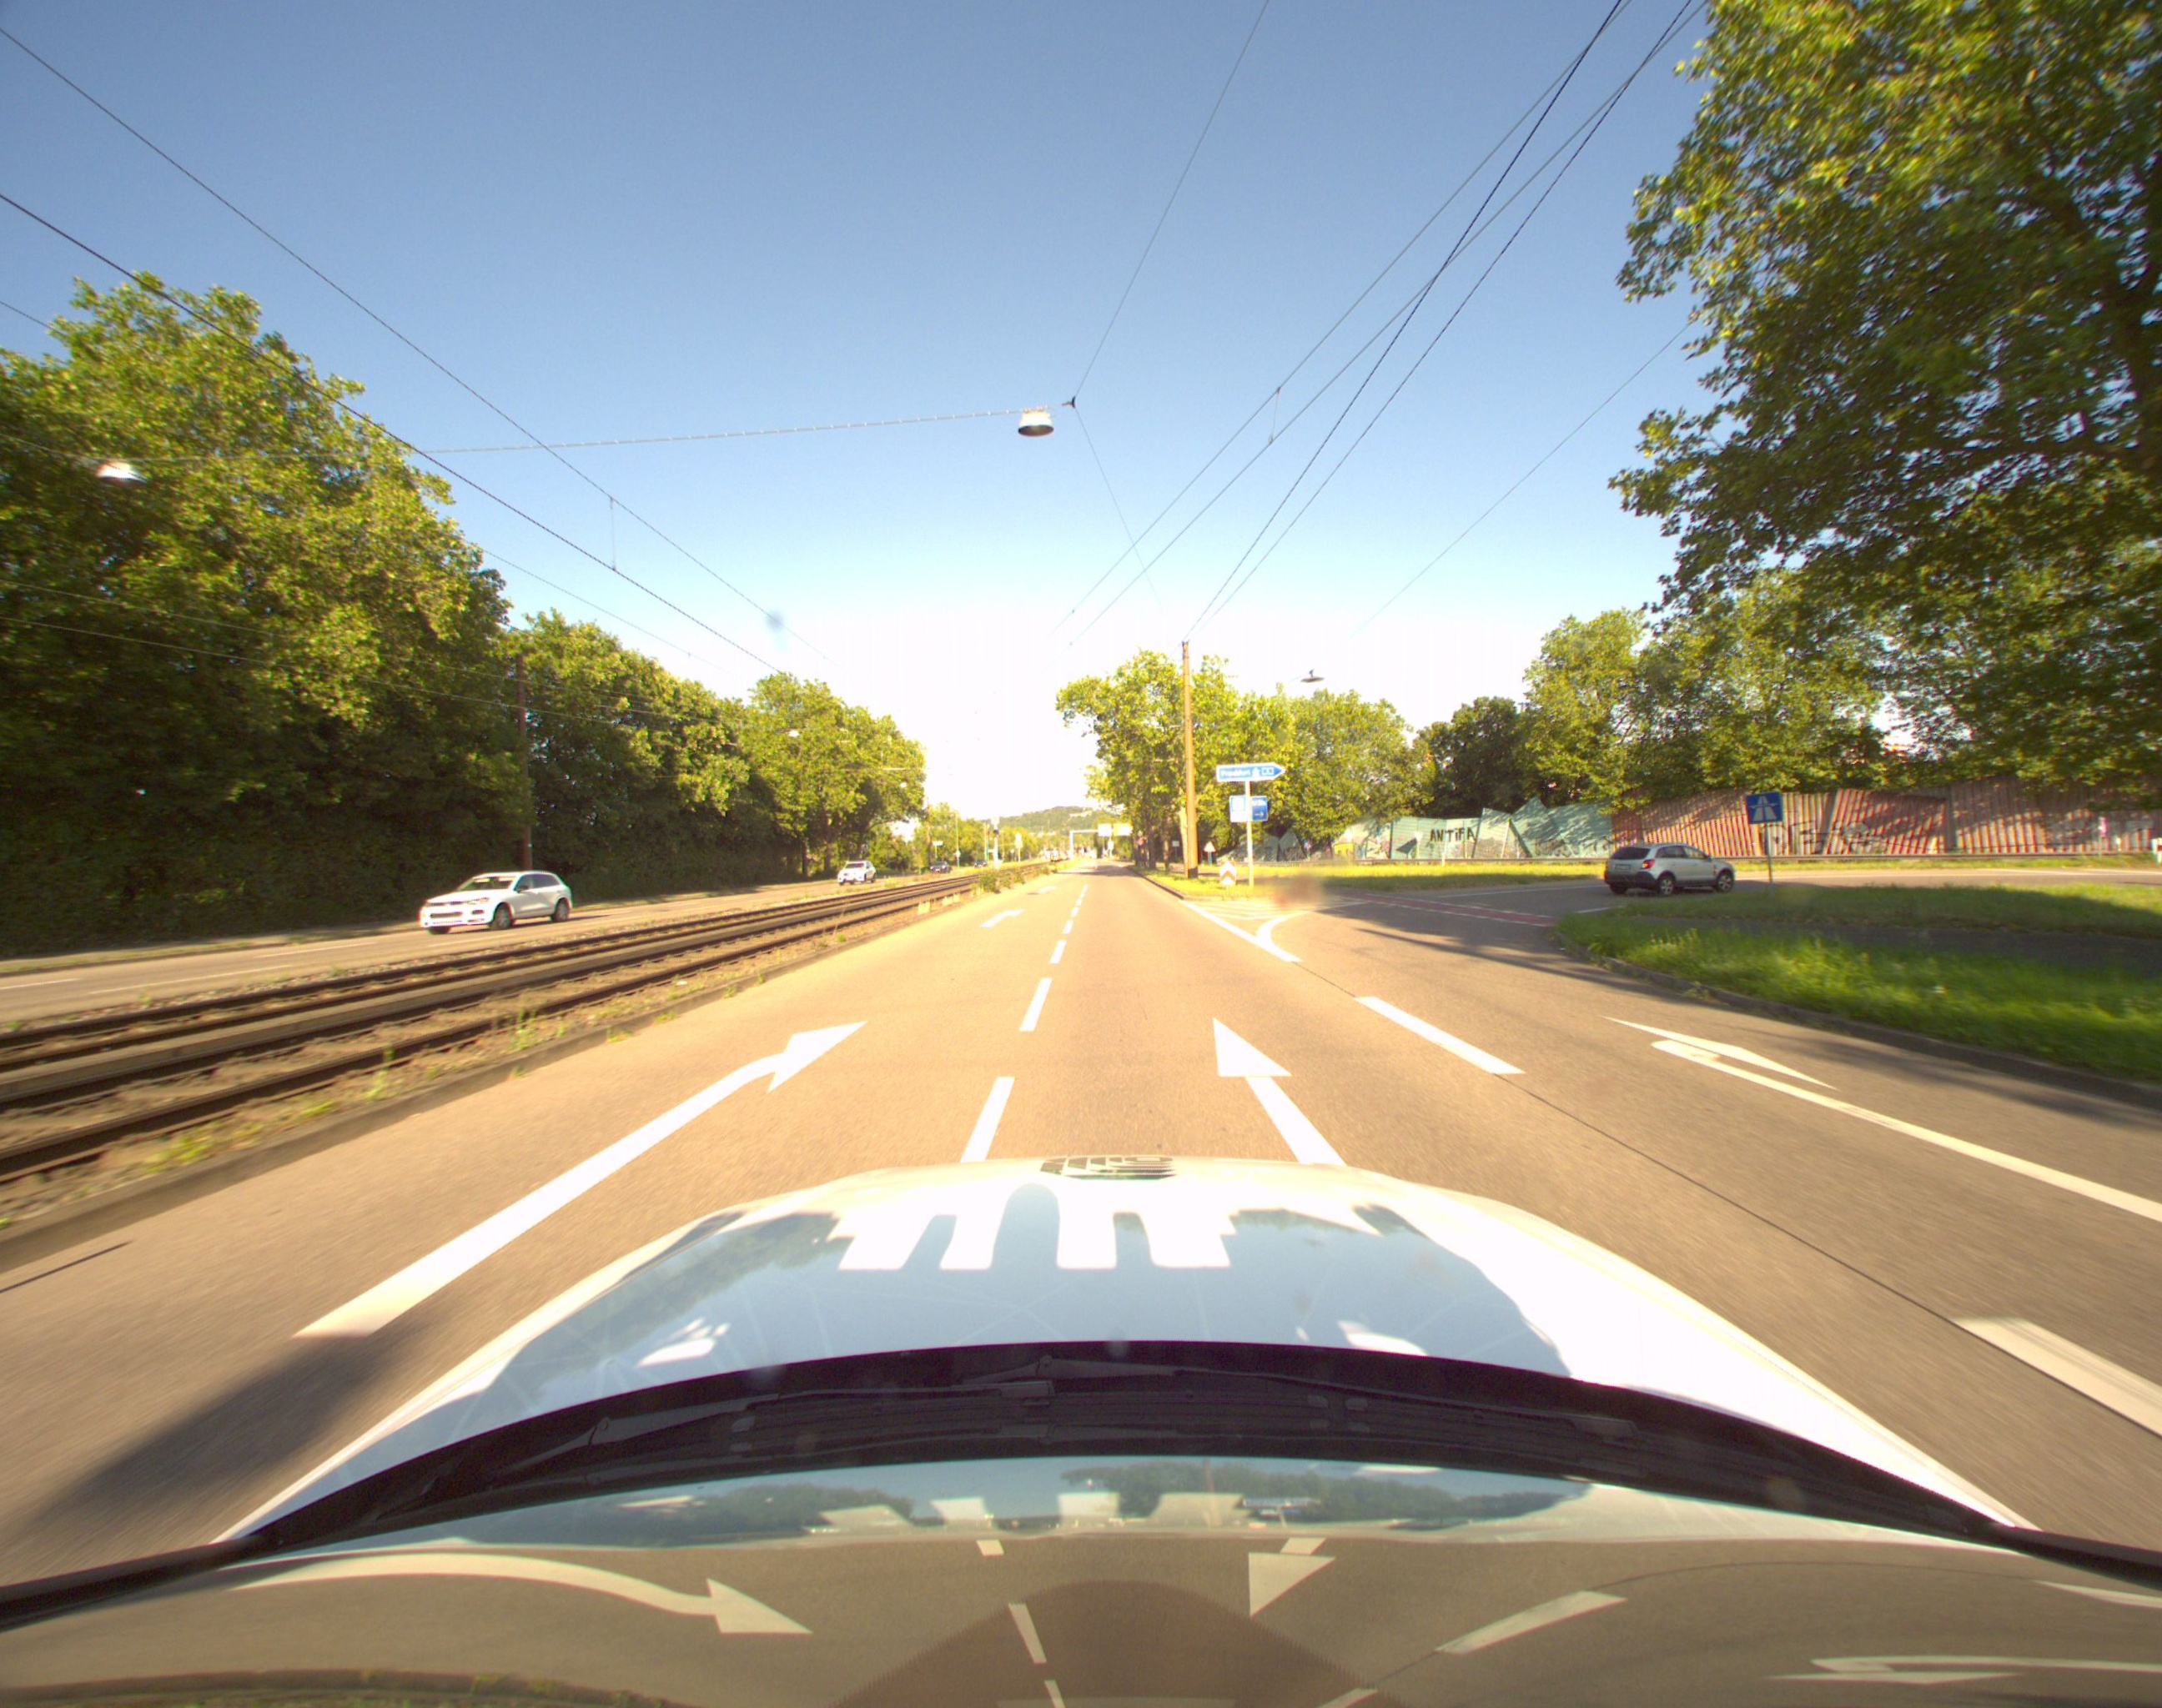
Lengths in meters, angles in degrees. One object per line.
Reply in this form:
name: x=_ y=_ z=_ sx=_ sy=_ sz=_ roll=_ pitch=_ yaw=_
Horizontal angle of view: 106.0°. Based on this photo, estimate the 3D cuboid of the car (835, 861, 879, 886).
car: x=-16.927 y=1.454 z=61.703 sx=1.957 sy=1.707 sz=4.941 roll=-4 pitch=-1 yaw=-1

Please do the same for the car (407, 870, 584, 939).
car: x=-17.596 y=1.433 z=24.844 sx=1.841 sy=1.734 sz=4.927 roll=-4 pitch=-1 yaw=-2

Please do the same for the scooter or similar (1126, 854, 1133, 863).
scooter or similar: x=14.062 y=1.314 z=234.920 sx=1.675 sy=2.716 sz=4.869 roll=-1 pitch=0 yaw=1

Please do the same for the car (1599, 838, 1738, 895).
car: x=19.600 y=0.402 z=27.209 sx=3.859 sy=1.773 sz=1.804 roll=-1 pitch=-1 yaw=-17

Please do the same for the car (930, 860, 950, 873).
car: x=-17.349 y=1.524 z=100.446 sx=1.706 sy=1.468 sz=4.346 roll=-4 pitch=0 yaw=-1

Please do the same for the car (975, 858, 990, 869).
car: x=-16.851 y=1.583 z=139.328 sx=1.893 sy=1.694 sz=4.938 roll=-4 pitch=0 yaw=-1

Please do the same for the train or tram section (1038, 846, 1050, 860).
train or tram section: x=-10.422 y=-0.259 z=231.674 sx=2.795 sy=3.902 sz=12.330 roll=-1 pitch=0 yaw=0
